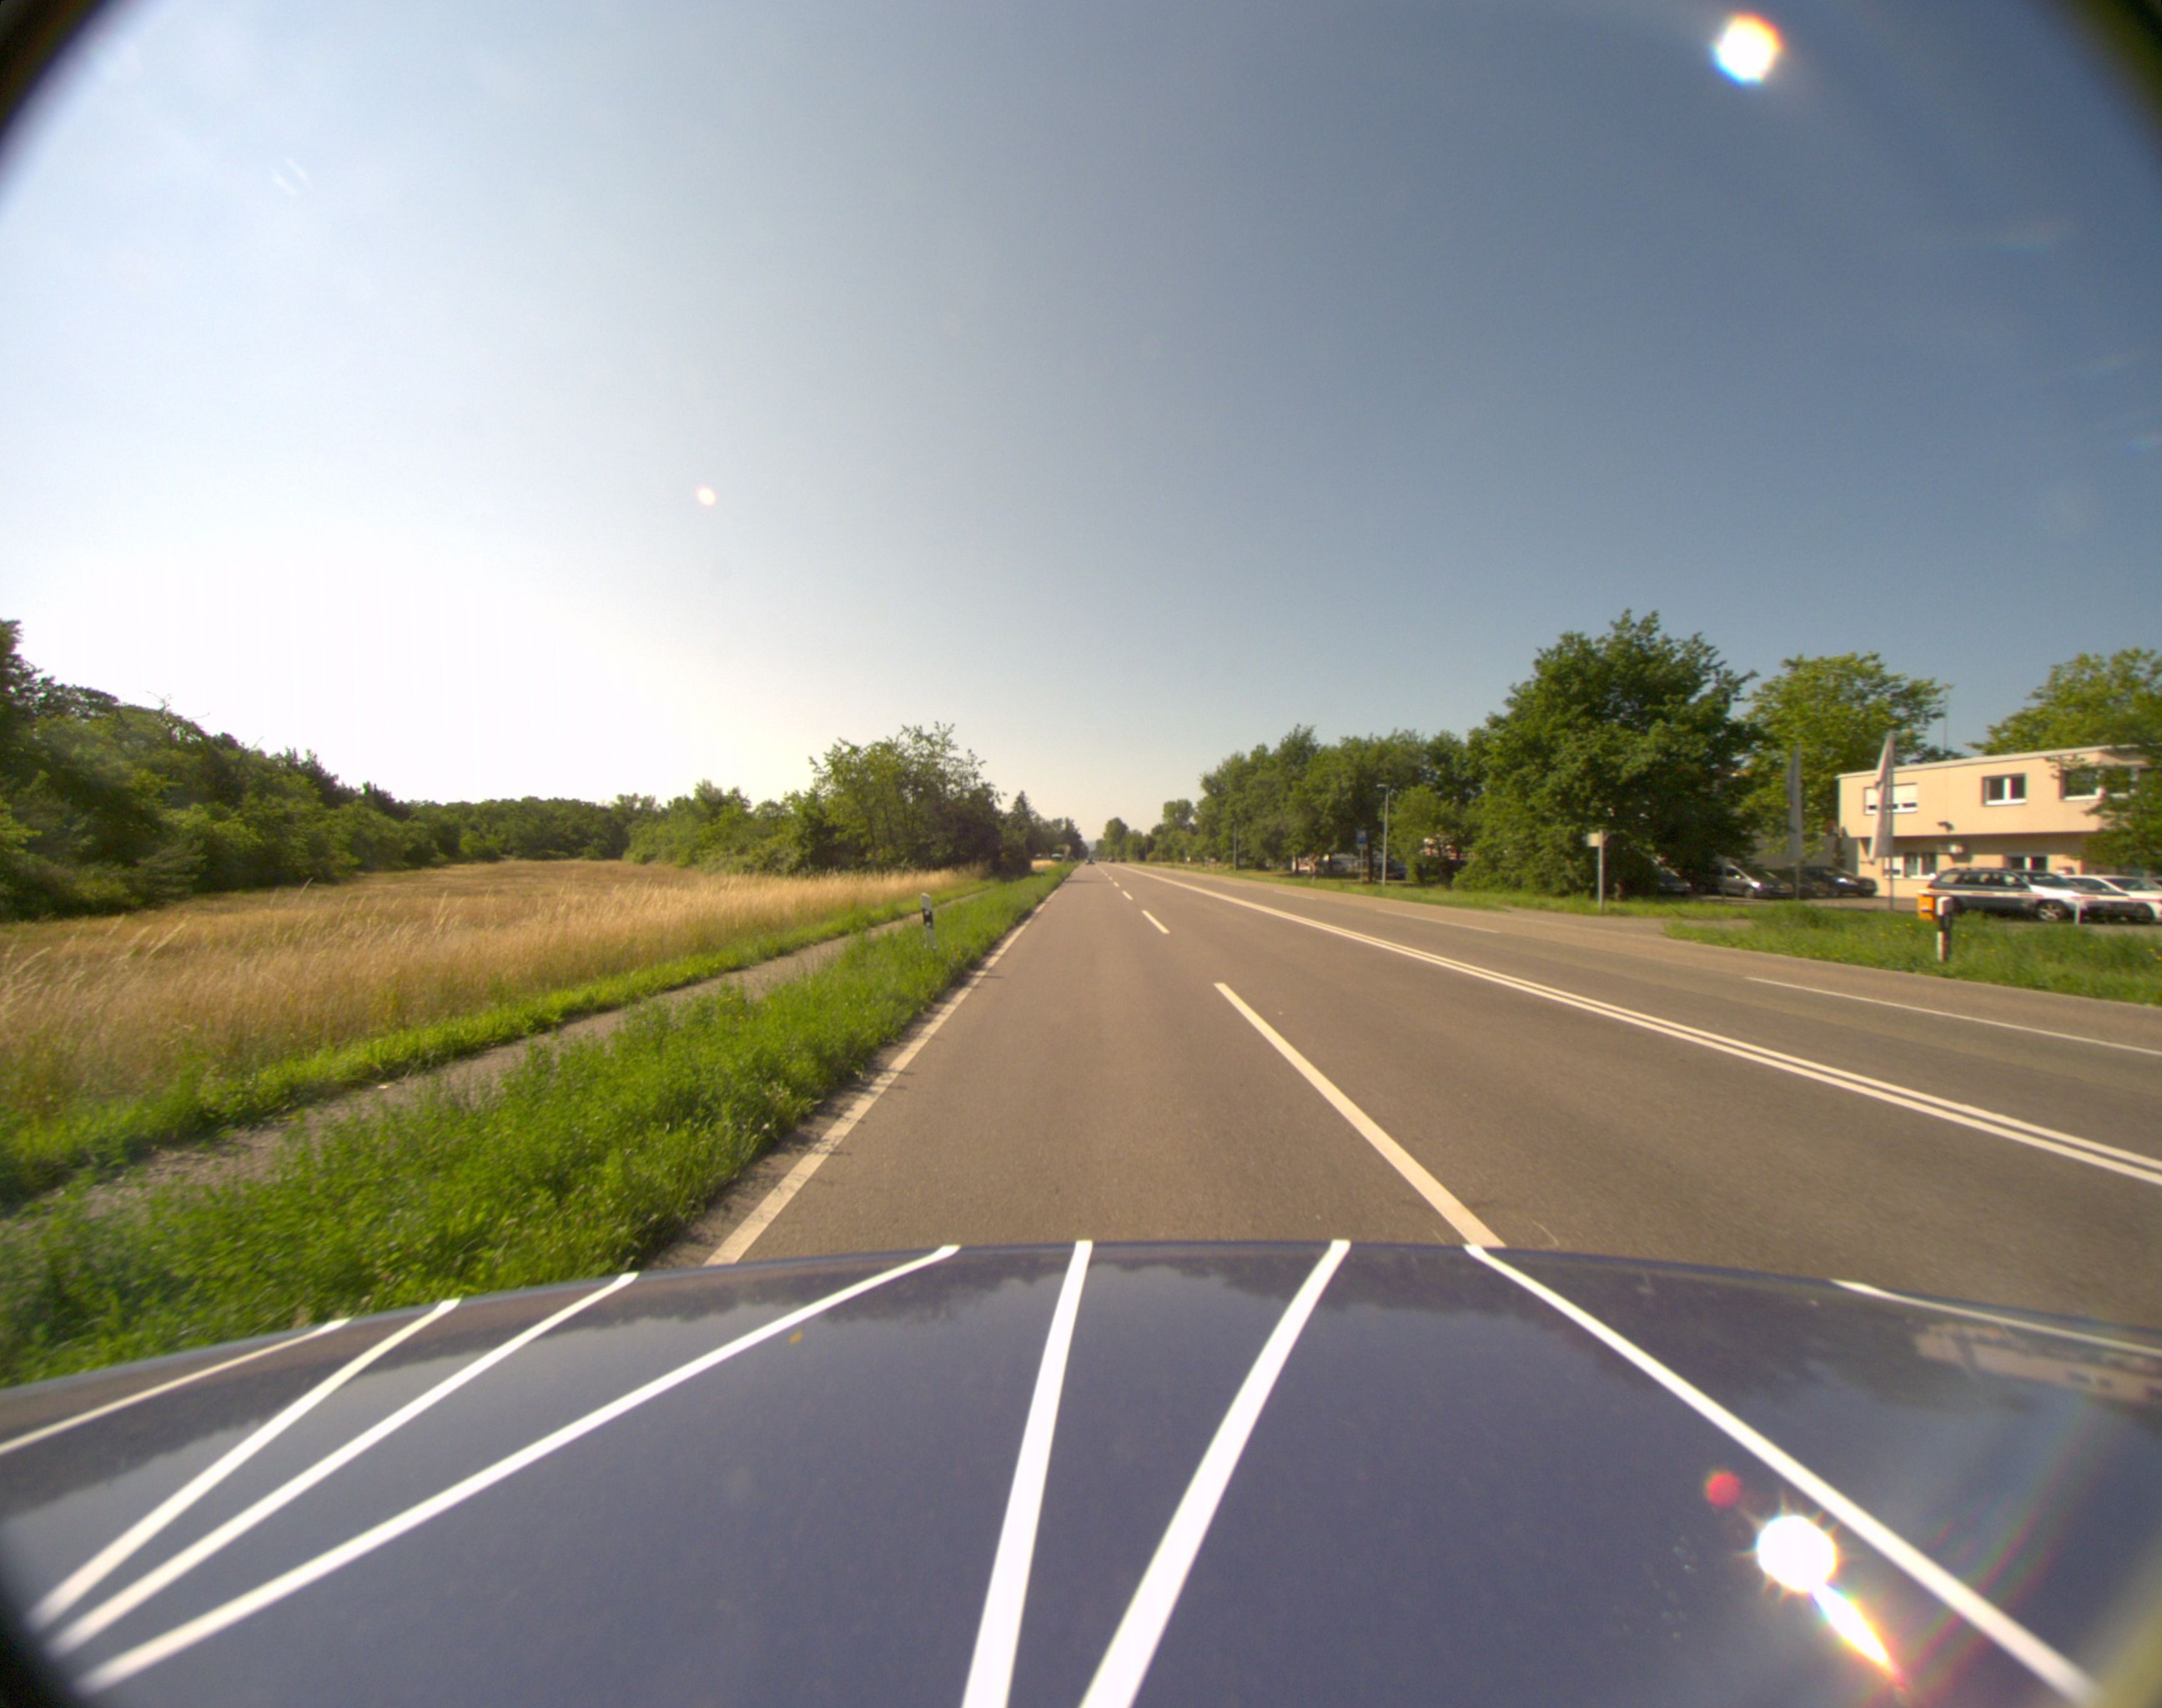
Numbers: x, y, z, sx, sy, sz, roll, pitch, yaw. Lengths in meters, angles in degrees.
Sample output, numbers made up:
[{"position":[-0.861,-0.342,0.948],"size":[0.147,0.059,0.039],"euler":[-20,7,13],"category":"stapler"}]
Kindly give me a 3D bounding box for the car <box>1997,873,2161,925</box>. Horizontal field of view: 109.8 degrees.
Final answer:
[{"position":[32.428,1.370,23.994],"size":[1.934,1.386,4.191],"euler":[0,0,-1],"category":"car"}]

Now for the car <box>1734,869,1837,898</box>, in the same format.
[{"position":[36.713,1.485,39.731],"size":[1.676,1.342,4.000],"euler":[0,0,0],"category":"car"}]

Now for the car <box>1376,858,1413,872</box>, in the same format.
[{"position":[32.562,1.096,79.098],"size":[1.792,1.341,4.662],"euler":[1,0,-2],"category":"car"}]

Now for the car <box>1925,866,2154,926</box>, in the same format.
[{"position":[30.091,1.256,24.093],"size":[1.934,1.642,4.191],"euler":[0,0,-1],"category":"car"}]

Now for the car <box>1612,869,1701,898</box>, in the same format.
[{"position":[30.003,1.485,39.760],"size":[1.676,1.342,4.000],"euler":[0,0,0],"category":"car"}]

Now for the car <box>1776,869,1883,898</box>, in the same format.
[{"position":[39.122,1.510,39.847],"size":[1.676,1.342,4.000],"euler":[0,0,0],"category":"car"}]

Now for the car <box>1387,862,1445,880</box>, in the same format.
[{"position":[30.510,1.514,69.326],"size":[4.361,1.318,1.857],"euler":[3,1,0],"category":"car"}]

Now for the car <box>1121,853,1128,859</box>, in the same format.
[{"position":[12.364,0.480,215.841],"size":[1.830,1.662,4.389],"euler":[2,0,-1],"category":"car"}]

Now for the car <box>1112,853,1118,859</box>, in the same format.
[{"position":[9.362,0.526,211.122],"size":[1.520,1.442,3.775],"euler":[2,0,0],"category":"car"}]

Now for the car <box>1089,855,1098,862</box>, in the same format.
[{"position":[2.437,0.961,153.255],"size":[1.768,1.403,4.001],"euler":[0,-1,1],"category":"car"}]

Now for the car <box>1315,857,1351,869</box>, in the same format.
[{"position":[31.671,1.127,95.567],"size":[3.997,1.492,1.757],"euler":[0,0,0],"category":"car"}]

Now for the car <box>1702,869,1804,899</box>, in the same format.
[{"position":[34.255,1.505,38.865],"size":[1.676,1.342,4.000],"euler":[0,0,0],"category":"car"}]
